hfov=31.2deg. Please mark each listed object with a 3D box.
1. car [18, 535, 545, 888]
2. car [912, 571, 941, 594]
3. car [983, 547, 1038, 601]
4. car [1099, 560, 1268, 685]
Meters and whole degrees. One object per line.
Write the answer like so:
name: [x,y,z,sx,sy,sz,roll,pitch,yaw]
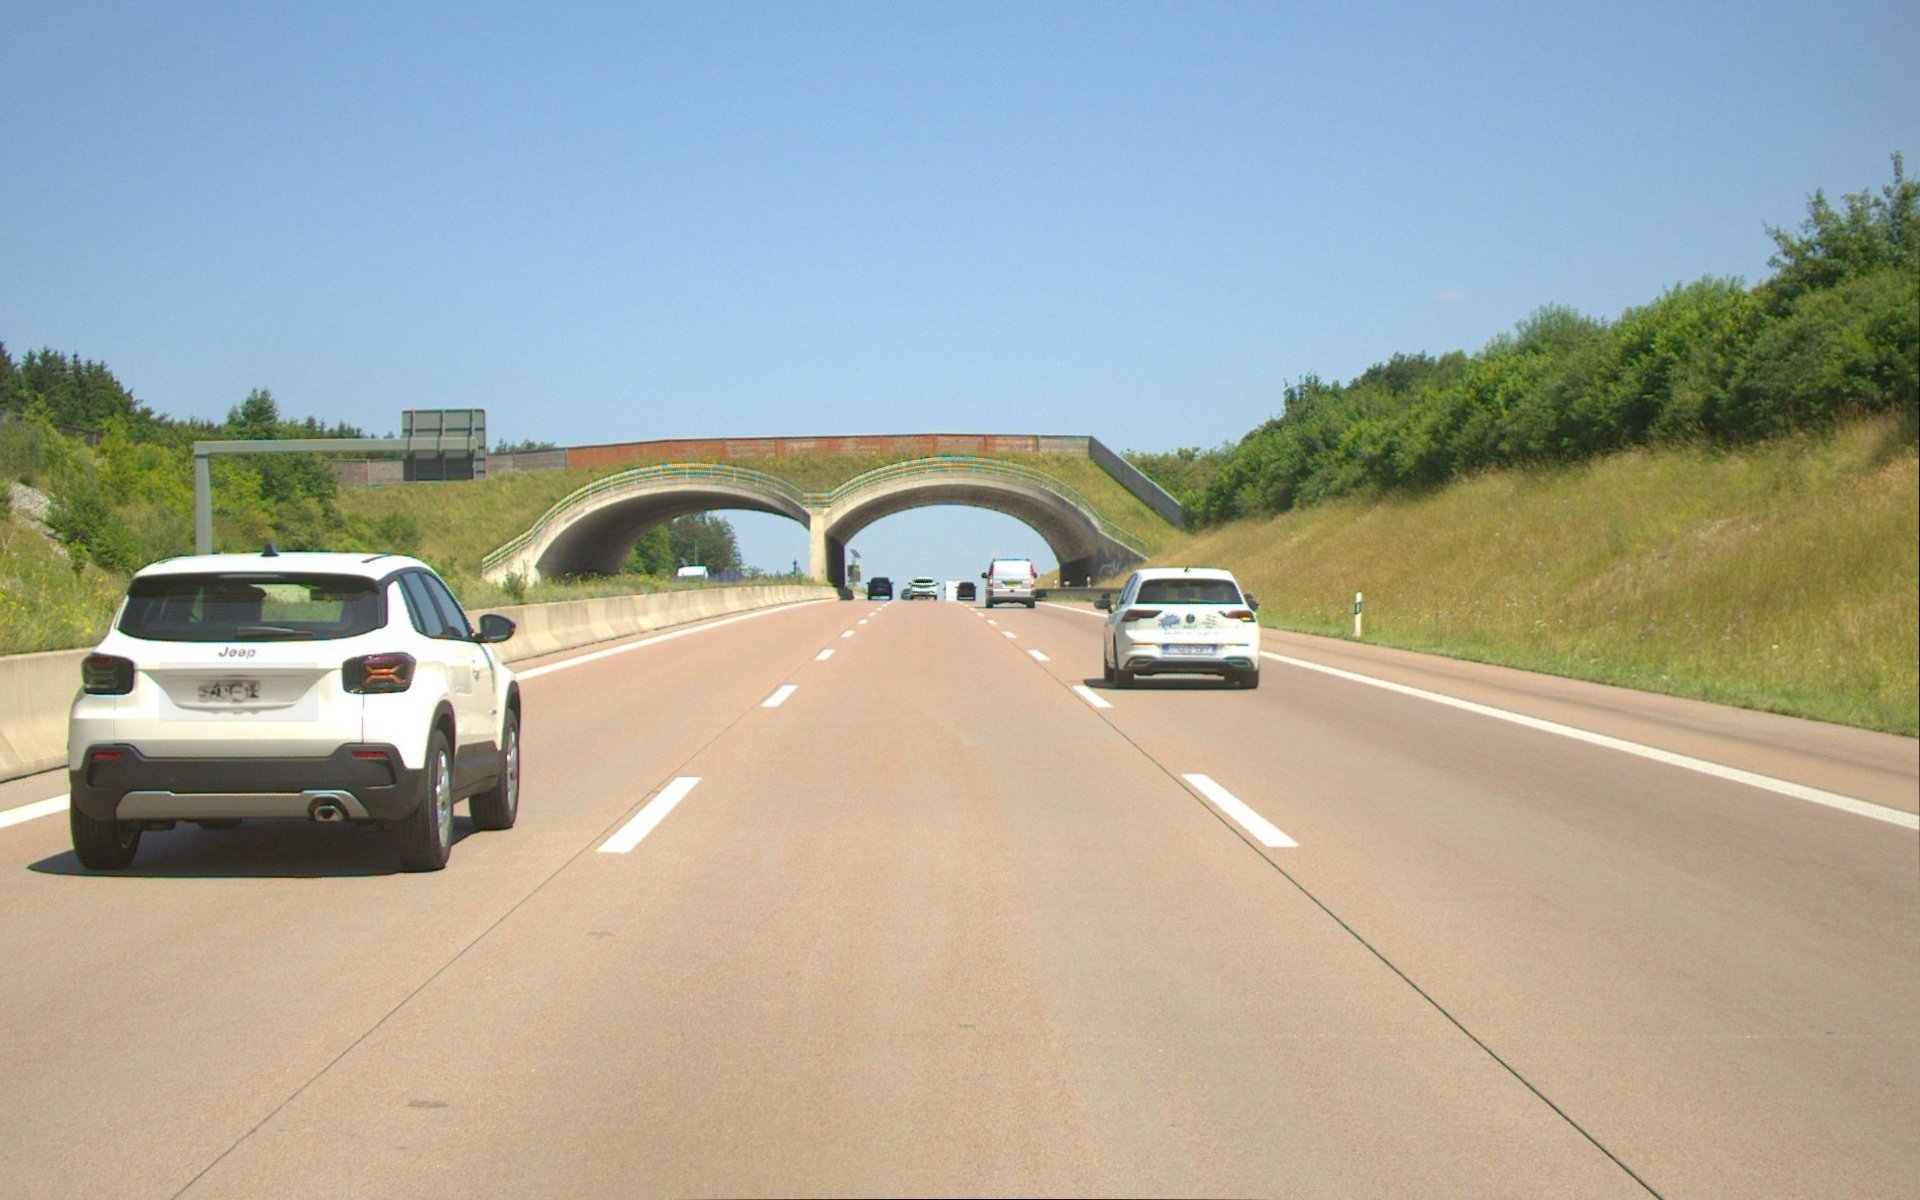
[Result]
car: [-3.383,0.469,18.084,1.879,1.602,4.834,0,1,-1]
car: [-2.265,-1.192,230.381,1.891,1.458,4.000,1,1,0]
car: [2.008,-1.031,134.850,2.110,2.047,4.000,0,2,1]
car: [2.696,0.238,42.279,1.891,1.393,4.000,1,1,1]
